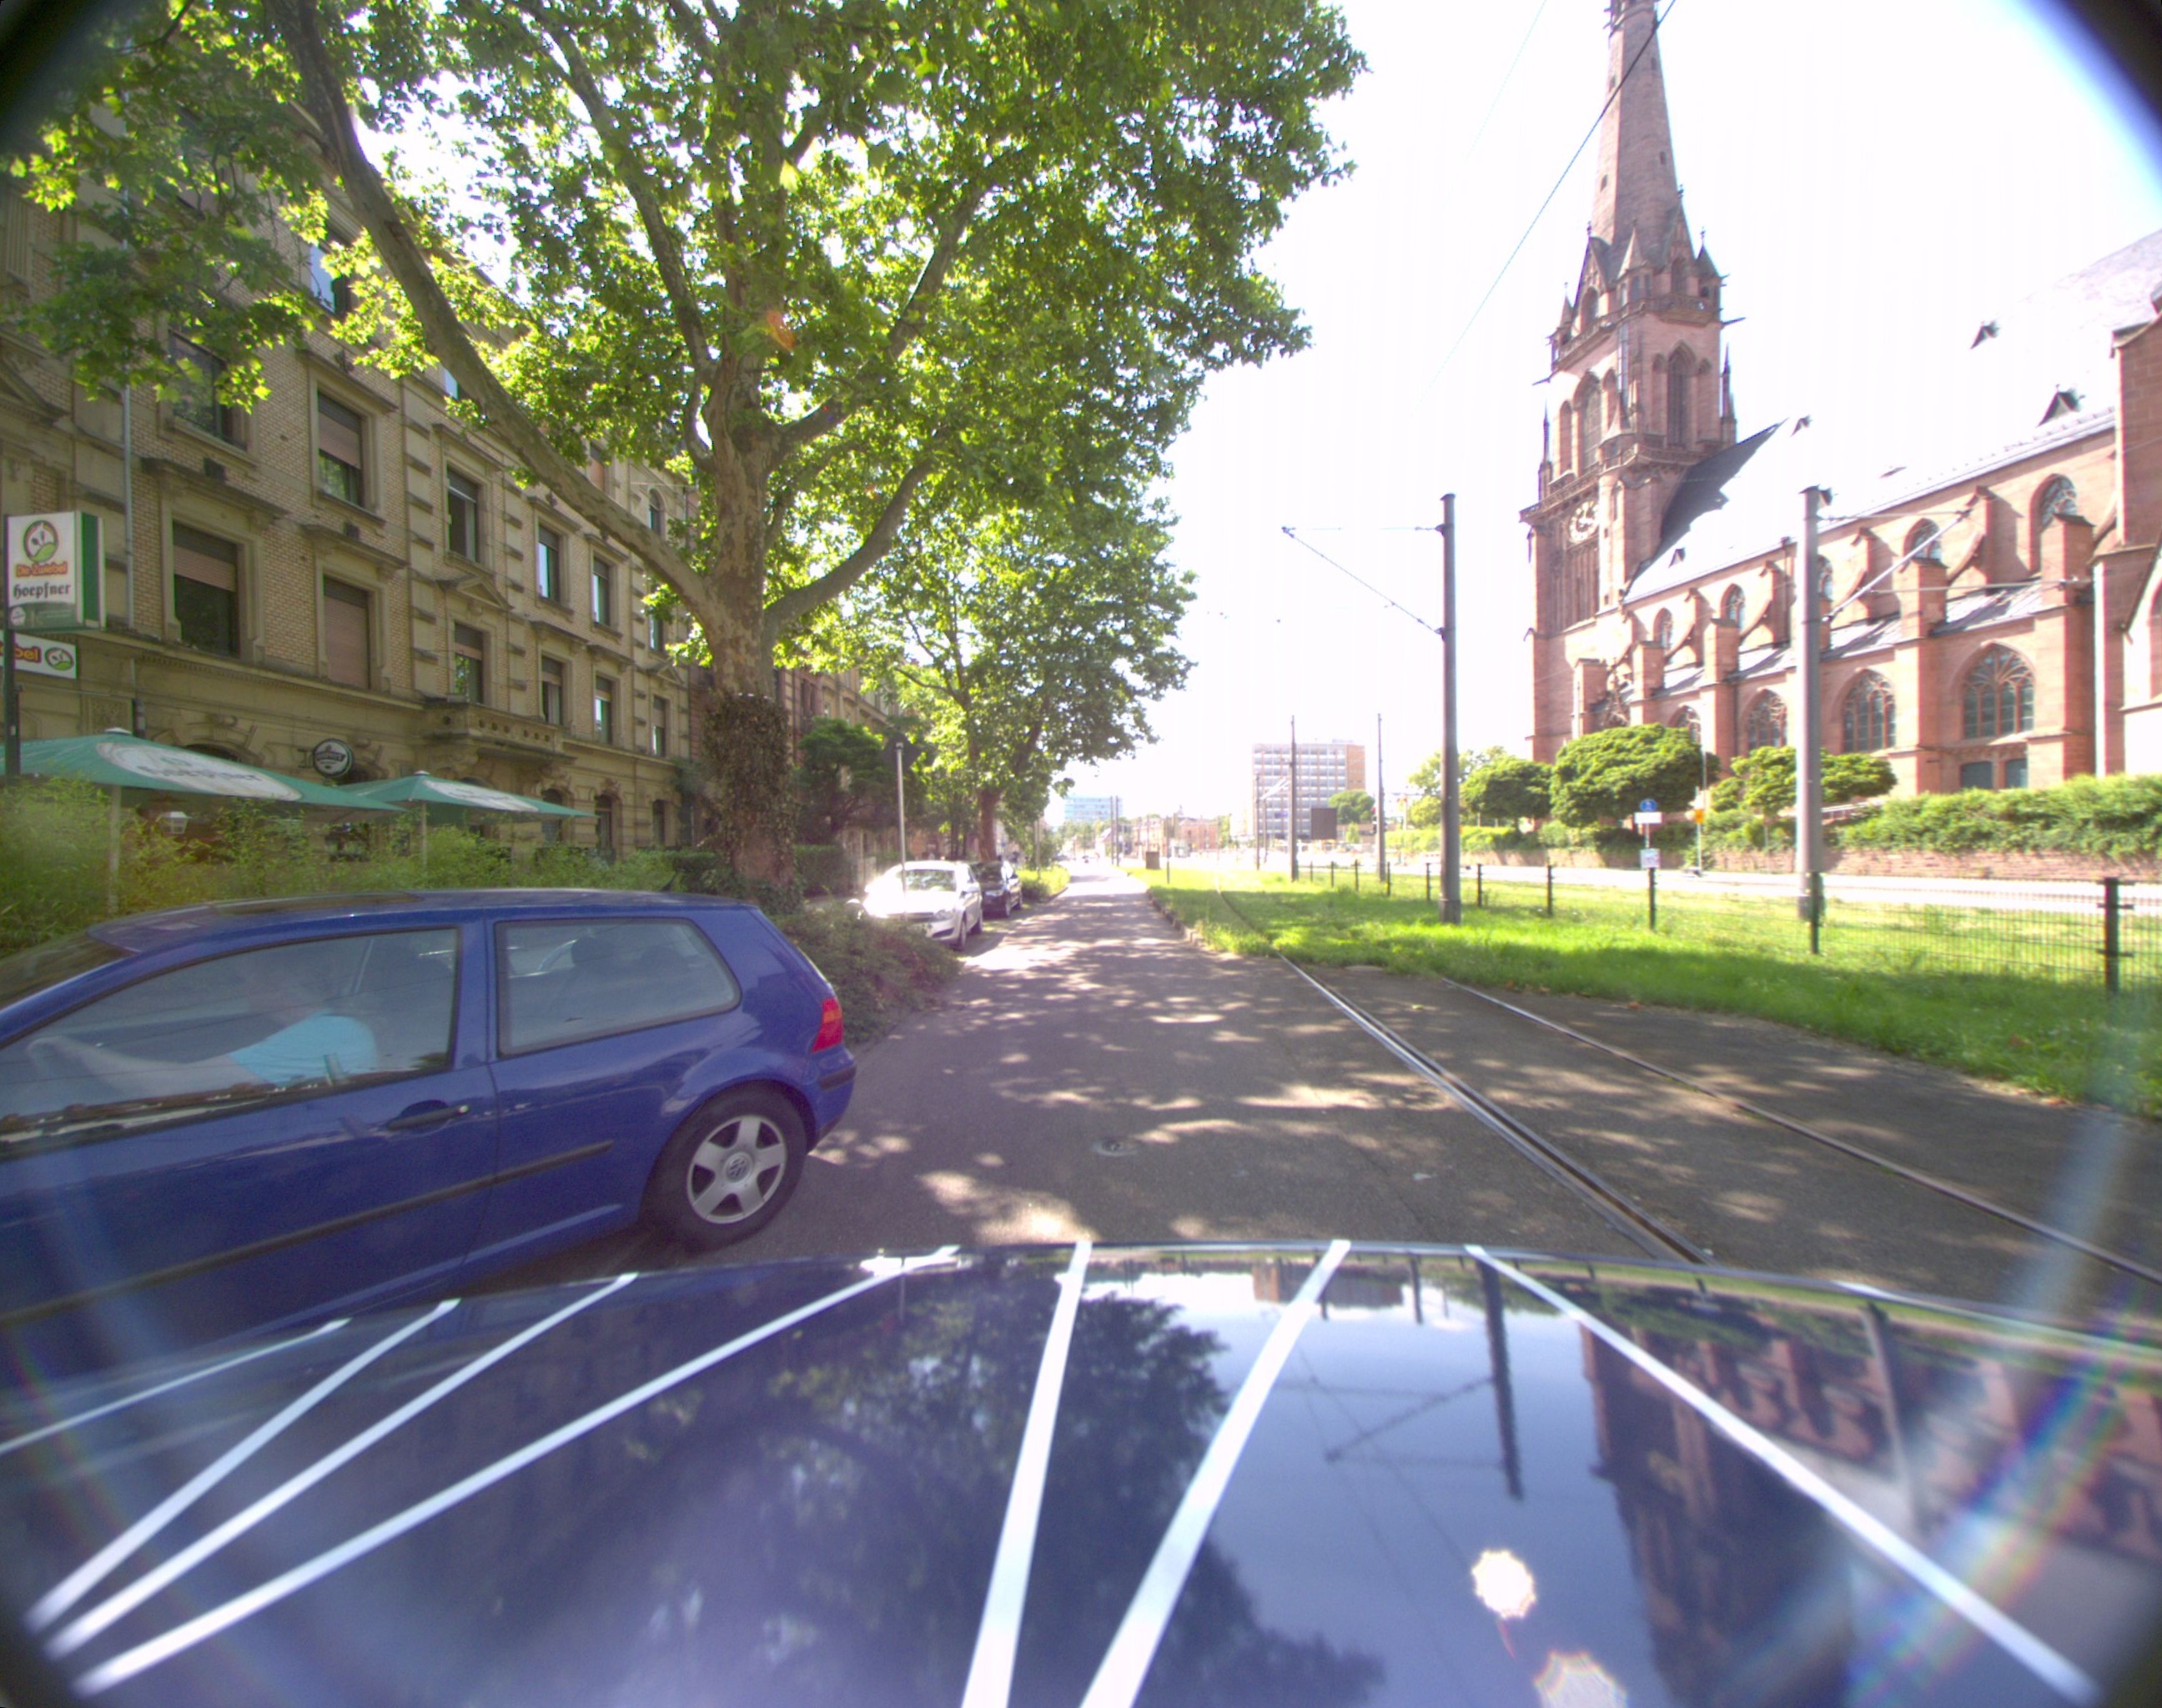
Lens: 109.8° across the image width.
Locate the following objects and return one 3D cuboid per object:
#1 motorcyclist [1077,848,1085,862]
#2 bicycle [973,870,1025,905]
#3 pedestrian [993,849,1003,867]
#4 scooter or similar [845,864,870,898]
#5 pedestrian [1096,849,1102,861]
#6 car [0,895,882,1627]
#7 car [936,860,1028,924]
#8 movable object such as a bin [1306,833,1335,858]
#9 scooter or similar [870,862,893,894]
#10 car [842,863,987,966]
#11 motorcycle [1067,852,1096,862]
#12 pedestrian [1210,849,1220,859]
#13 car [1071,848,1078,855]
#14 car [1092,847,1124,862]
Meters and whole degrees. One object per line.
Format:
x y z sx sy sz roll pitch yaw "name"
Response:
0.027 0.134 107.056 1.107 1.919 1.333 -1 1 -2 "motorcyclist"
-2.698 1.097 25.079 1.641 1.082 0.470 -1 1 -32 "bicycle"
-7.941 0.424 73.038 0.797 1.708 0.967 -1 1 0 "pedestrian"
-8.448 0.993 28.764 0.583 1.240 1.145 -1 1 1 "scooter or similar"
2.499 0.134 105.239 0.850 1.644 1.128 -1 1 1 "pedestrian"
-2.917 0.971 2.427 1.882 1.401 4.101 -1 0 37 "car"
-2.603 0.958 21.098 1.838 1.499 4.643 -1 0 1 "car"
37.705 -1.369 119.723 3.340 3.859 2.932 -1 1 -33 "movable object such as a bin"
-8.248 0.991 31.486 0.583 1.275 1.145 -1 1 3 "scooter or similar"
-2.843 0.959 13.981 1.838 1.499 4.490 -1 0 -3 "car"
0.048 0.359 107.058 3.935 1.331 1.244 -1 1 -2 "motorcycle"
25.251 -0.037 143.191 1.426 1.796 1.422 -1 1 -3 "pedestrian"
-1.724 -0.640 202.377 1.998 2.002 4.000 -1 0 1 "car"
3.699 0.039 103.475 3.993 2.002 2.002 -1 1 11 "car"
